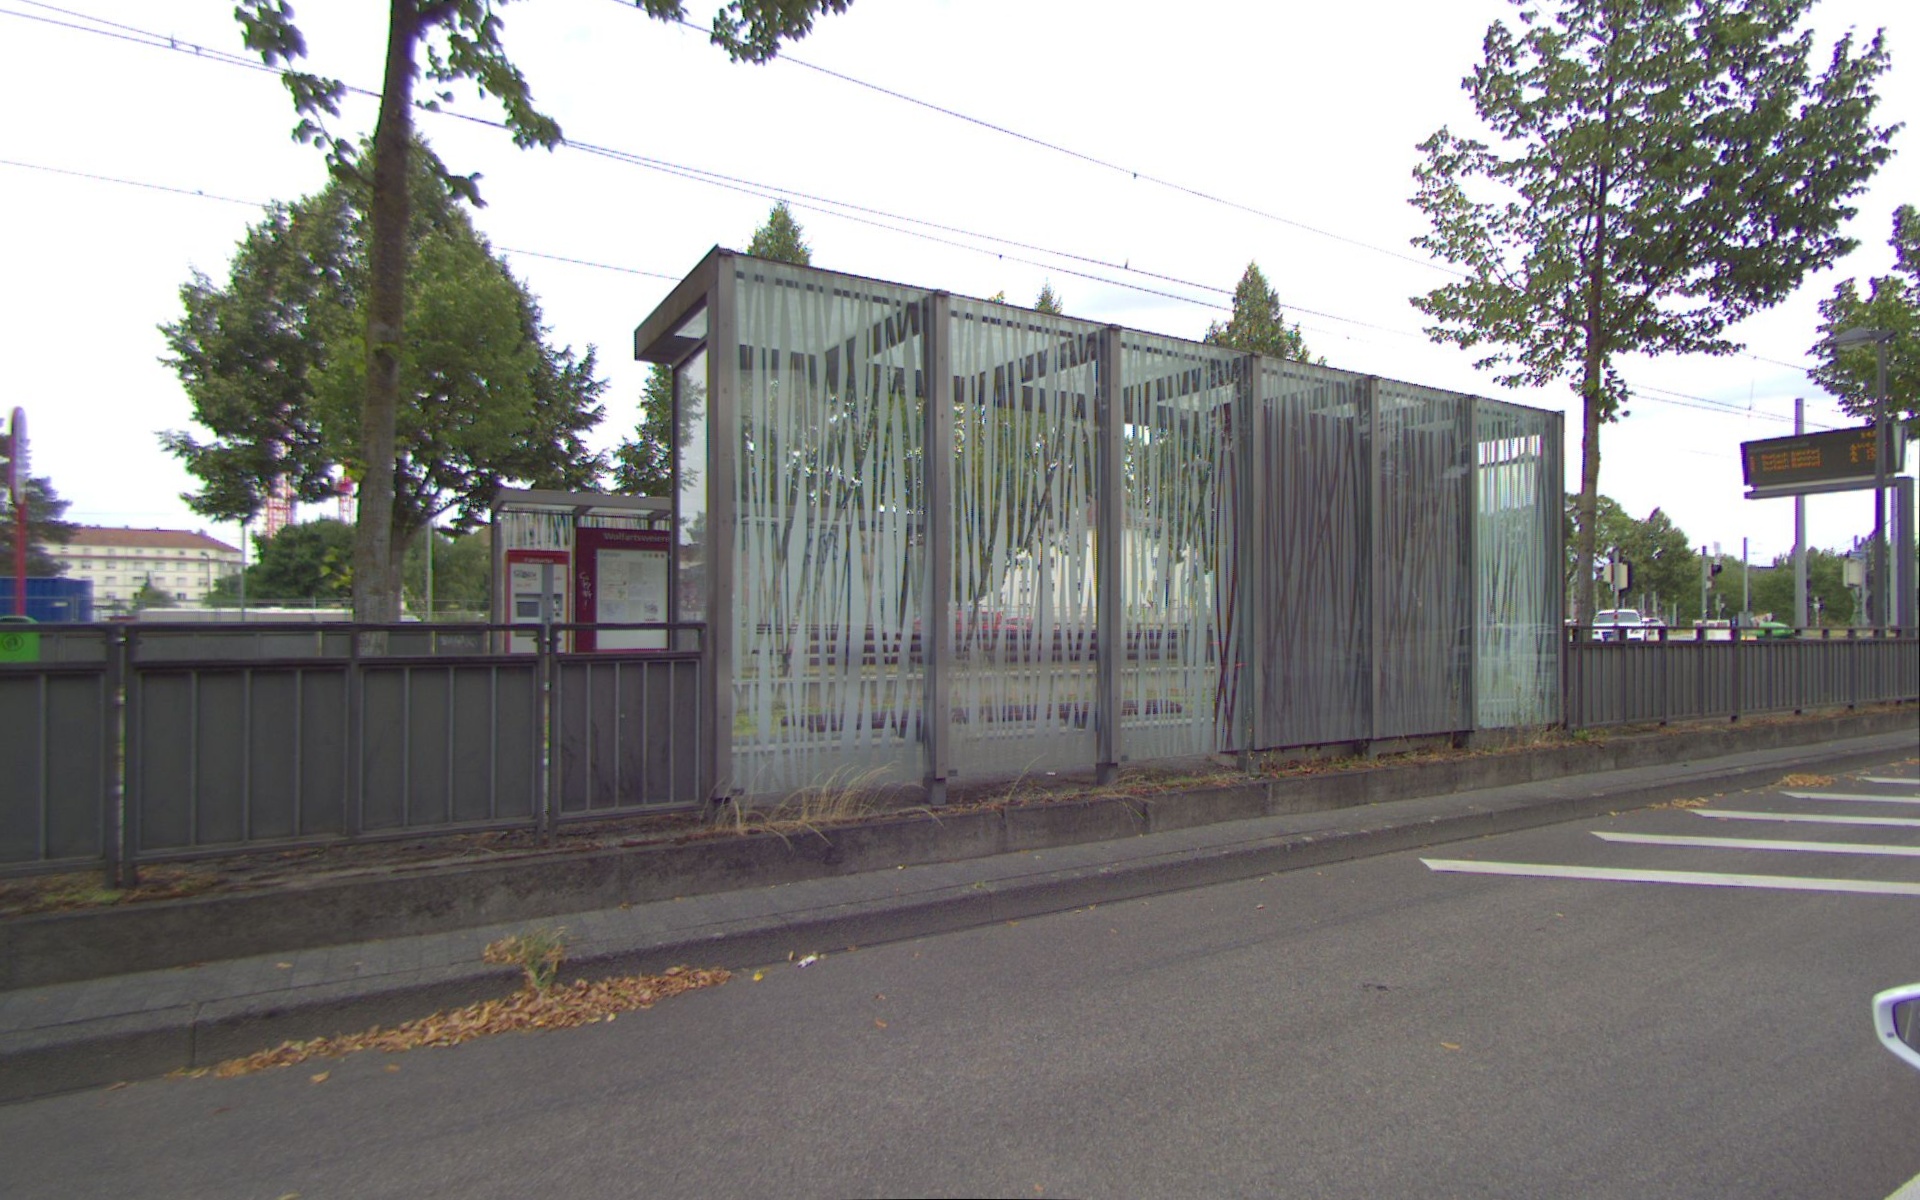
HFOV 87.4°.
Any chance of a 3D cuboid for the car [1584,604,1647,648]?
[{"bbox_3d":[25.714,0.989,39.428,1.966,1.639,4.372,0,-1,33],"label":"car"}]
